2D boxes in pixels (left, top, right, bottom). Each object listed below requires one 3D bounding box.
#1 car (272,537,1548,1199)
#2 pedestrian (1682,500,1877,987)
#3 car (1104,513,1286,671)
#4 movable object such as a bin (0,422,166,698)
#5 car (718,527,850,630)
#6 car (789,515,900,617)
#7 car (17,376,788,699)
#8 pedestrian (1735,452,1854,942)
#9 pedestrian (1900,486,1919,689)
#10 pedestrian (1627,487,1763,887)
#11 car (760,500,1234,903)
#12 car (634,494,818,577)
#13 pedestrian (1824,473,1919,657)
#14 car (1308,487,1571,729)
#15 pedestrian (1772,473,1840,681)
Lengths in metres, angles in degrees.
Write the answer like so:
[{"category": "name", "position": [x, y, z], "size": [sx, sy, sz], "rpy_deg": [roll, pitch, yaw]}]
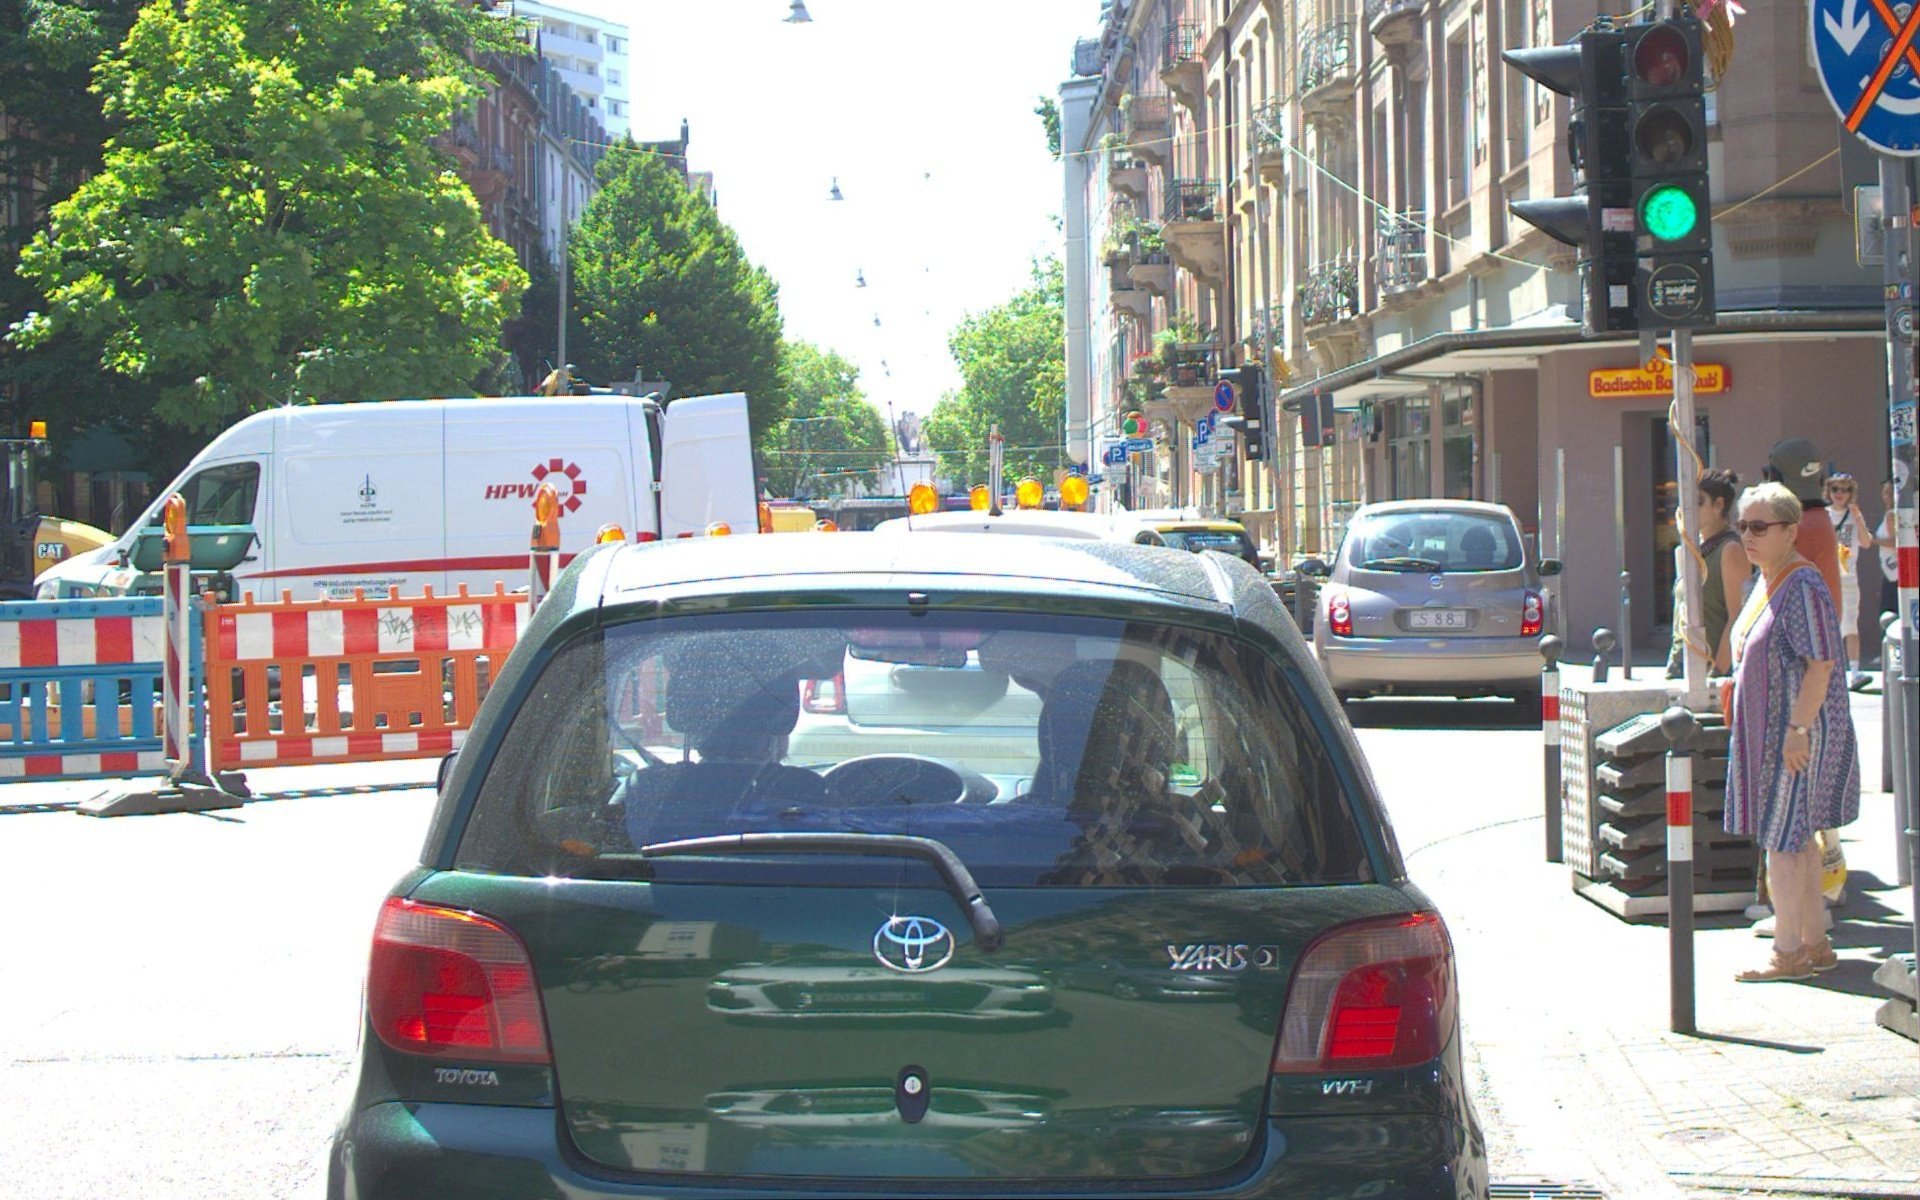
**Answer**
[{"category": "car", "position": [0.008, 0.637, 5.967], "size": [1.614, 1.480, 3.241], "rpy_deg": [0, 1, 3]}, {"category": "pedestrian", "position": [2.665, 0.457, 11.208], "size": [0.493, 1.538, 0.436], "rpy_deg": [-3, 1, 6]}, {"category": "car", "position": [2.364, -0.117, 33.915], "size": [1.627, 1.427, 3.660], "rpy_deg": [-2, 1, 6]}, {"category": "movable object such as a bin", "position": [-10.402, -0.428, 34.160], "size": [4.543, 2.650, 1.955], "rpy_deg": [1, 1, 0]}, {"category": "car", "position": [-2.605, -0.353, 51.592], "size": [1.754, 1.439, 4.000], "rpy_deg": [-1, 1, 0]}, {"category": "car", "position": [-2.022, -0.634, 61.261], "size": [1.754, 1.639, 4.378], "rpy_deg": [-4, 1, 0]}, {"category": "car", "position": [-4.982, -0.578, 31.497], "size": [6.622, 2.742, 2.380], "rpy_deg": [1, 1, 1]}, {"category": "pedestrian", "position": [2.893, 0.328, 11.935], "size": [0.332, 1.670, 0.401], "rpy_deg": [-1, 1, 6]}, {"category": "pedestrian", "position": [8.158, -0.118, 28.231], "size": [0.701, 1.639, 0.423], "rpy_deg": [-3, 5, -8]}, {"category": "pedestrian", "position": [2.906, 0.334, 13.608], "size": [0.459, 1.555, 0.479], "rpy_deg": [-1, 1, 6]}, {"category": "car", "position": [0.263, 0.345, 14.698], "size": [1.523, 1.516, 3.263], "rpy_deg": [-1, 2, 10]}, {"category": "car", "position": [-6.350, -1.759, 93.340], "size": [4.557, 2.180, 2.000], "rpy_deg": [-1, 1, -27]}, {"category": "pedestrian", "position": [8.178, -0.314, 30.658], "size": [0.801, 1.618, 0.643], "rpy_deg": [-1, 1, 4]}, {"category": "car", "position": [3.453, 0.008, 24.353], "size": [1.523, 1.587, 3.262], "rpy_deg": [0, 2, 13]}, {"category": "pedestrian", "position": [7.147, -0.190, 29.033], "size": [0.478, 1.727, 0.871], "rpy_deg": [0, 0, 19]}]
